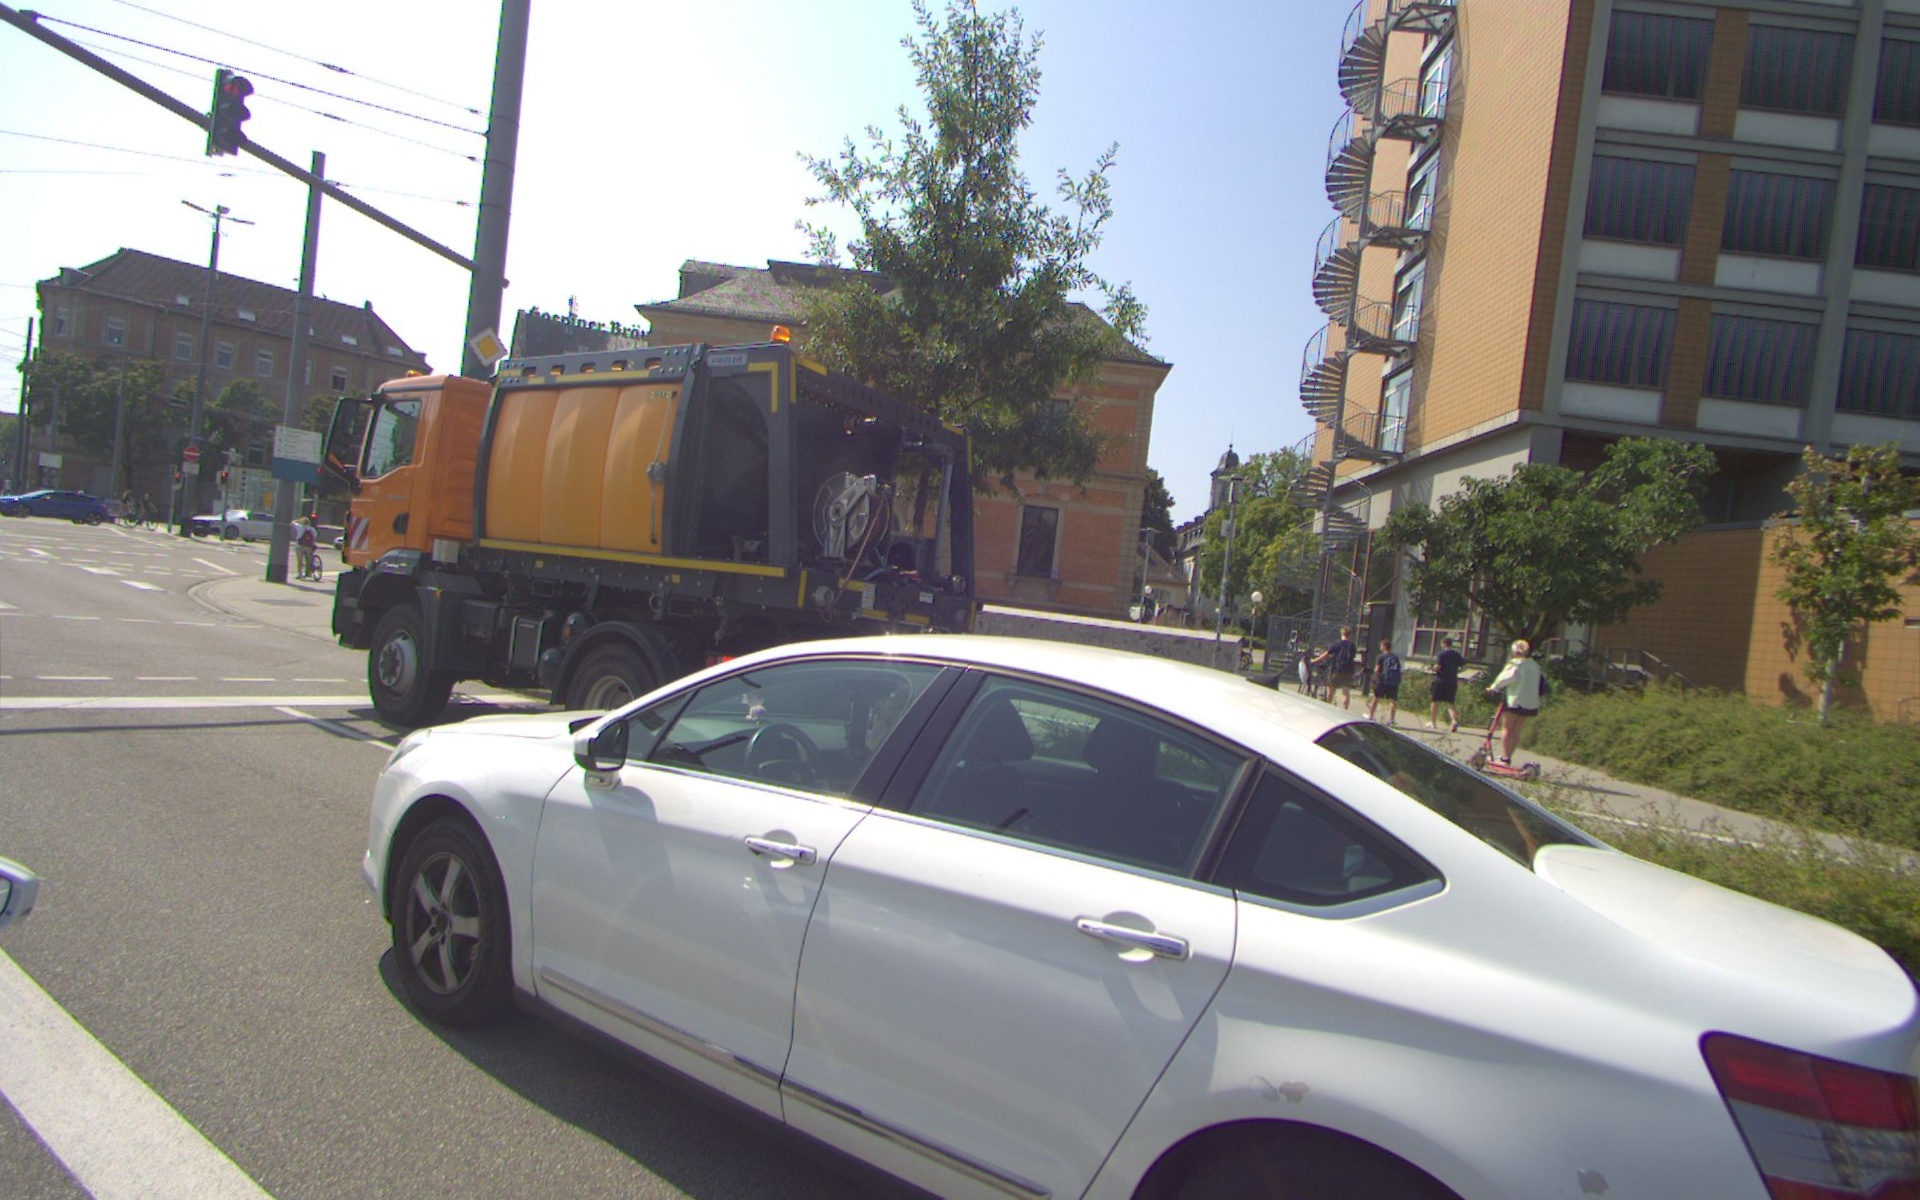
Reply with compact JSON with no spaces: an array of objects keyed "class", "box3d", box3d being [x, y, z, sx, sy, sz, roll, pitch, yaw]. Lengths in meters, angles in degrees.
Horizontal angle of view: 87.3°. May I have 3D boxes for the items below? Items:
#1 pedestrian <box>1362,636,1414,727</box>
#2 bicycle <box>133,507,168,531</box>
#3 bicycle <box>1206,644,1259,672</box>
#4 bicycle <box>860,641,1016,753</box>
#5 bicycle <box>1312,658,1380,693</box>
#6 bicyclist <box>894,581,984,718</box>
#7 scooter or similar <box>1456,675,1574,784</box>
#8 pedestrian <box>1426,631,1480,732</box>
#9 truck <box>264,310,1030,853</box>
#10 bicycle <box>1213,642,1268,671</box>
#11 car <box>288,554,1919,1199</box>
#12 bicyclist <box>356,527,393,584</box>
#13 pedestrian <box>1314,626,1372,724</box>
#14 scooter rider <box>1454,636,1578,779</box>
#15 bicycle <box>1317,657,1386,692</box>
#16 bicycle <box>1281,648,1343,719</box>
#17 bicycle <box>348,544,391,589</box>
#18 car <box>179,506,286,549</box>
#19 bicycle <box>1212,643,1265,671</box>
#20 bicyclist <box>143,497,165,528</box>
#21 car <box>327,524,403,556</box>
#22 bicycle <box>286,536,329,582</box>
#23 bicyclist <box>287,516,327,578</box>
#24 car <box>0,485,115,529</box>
[{"class":"pedestrian","box3d":[8.511,1.596,20.032,0.665,1.695,0.837,6,1,14]},{"class":"bicycle","box3d":[-42.811,-4.277,53.209,1.622,1.068,0.471,7,1,12]},{"class":"bicycle","box3d":[10.572,2.253,39.091,1.866,0.850,0.549,7,1,7]},{"class":"bicycle","box3d":[-0.286,1.141,12.181,1.792,1.068,0.492,7,1,31]},{"class":"bicycle","box3d":[12.295,2.416,32.079,1.866,0.850,0.549,7,1,7]},{"class":"bicyclist","box3d":[-0.246,0.596,12.164,0.652,1.537,0.735,7,1,29]},{"class":"scooter or similar","box3d":[7.633,1.768,13.879,0.642,1.294,1.172,8,-1,-19]},{"class":"pedestrian","box3d":[9.827,1.605,20.085,0.617,1.895,0.837,6,1,14]},{"class":"truck","box3d":[-3.081,-0.331,8.799,6.752,3.173,2.493,7,0,34]},{"class":"bicycle","box3d":[10.533,2.118,37.787,1.866,0.850,0.549,7,1,7]},{"class":"car","box3d":[-0.069,0.834,3.196,4.535,1.446,1.770,7,0,34]},{"class":"bicyclist","box3d":[-15.530,-1.188,26.670,0.882,1.410,0.529,7,1,45]},{"class":"pedestrian","box3d":[7.668,1.485,20.189,0.665,1.862,0.837,6,1,1]},{"class":"scooter rider","box3d":[7.654,1.457,13.877,0.848,1.779,1.036,7,-1,-19]},{"class":"bicycle","box3d":[12.194,2.316,31.376,1.866,0.850,0.549,7,1,7]},{"class":"bicycle","box3d":[7.064,1.651,20.251,0.474,1.227,1.847,6,0,0]},{"class":"bicycle","box3d":[-15.829,-0.911,26.960,0.535,1.068,1.632,6,1,-45]},{"class":"car","box3d":[-38.237,-3.782,53.023,1.721,1.638,4.337,7,0,15]},{"class":"bicycle","box3d":[10.999,2.240,39.799,1.866,0.850,0.549,7,1,7]},{"class":"bicyclist","box3d":[-42.584,-4.615,53.175,0.511,1.548,0.613,7,1,8]},{"class":"car","box3d":[-36.546,-3.671,61.915,1.742,1.433,4.190,7,0,7]},{"class":"bicycle","box3d":[-17.259,-1.080,26.591,0.535,1.068,1.632,6,1,-45]},{"class":"bicyclist","box3d":[-17.405,-1.418,26.817,0.703,1.537,0.626,8,1,45]},{"class":"car","box3d":[-40.940,-4.194,45.379,1.568,1.411,3.994,7,0,28]}]
